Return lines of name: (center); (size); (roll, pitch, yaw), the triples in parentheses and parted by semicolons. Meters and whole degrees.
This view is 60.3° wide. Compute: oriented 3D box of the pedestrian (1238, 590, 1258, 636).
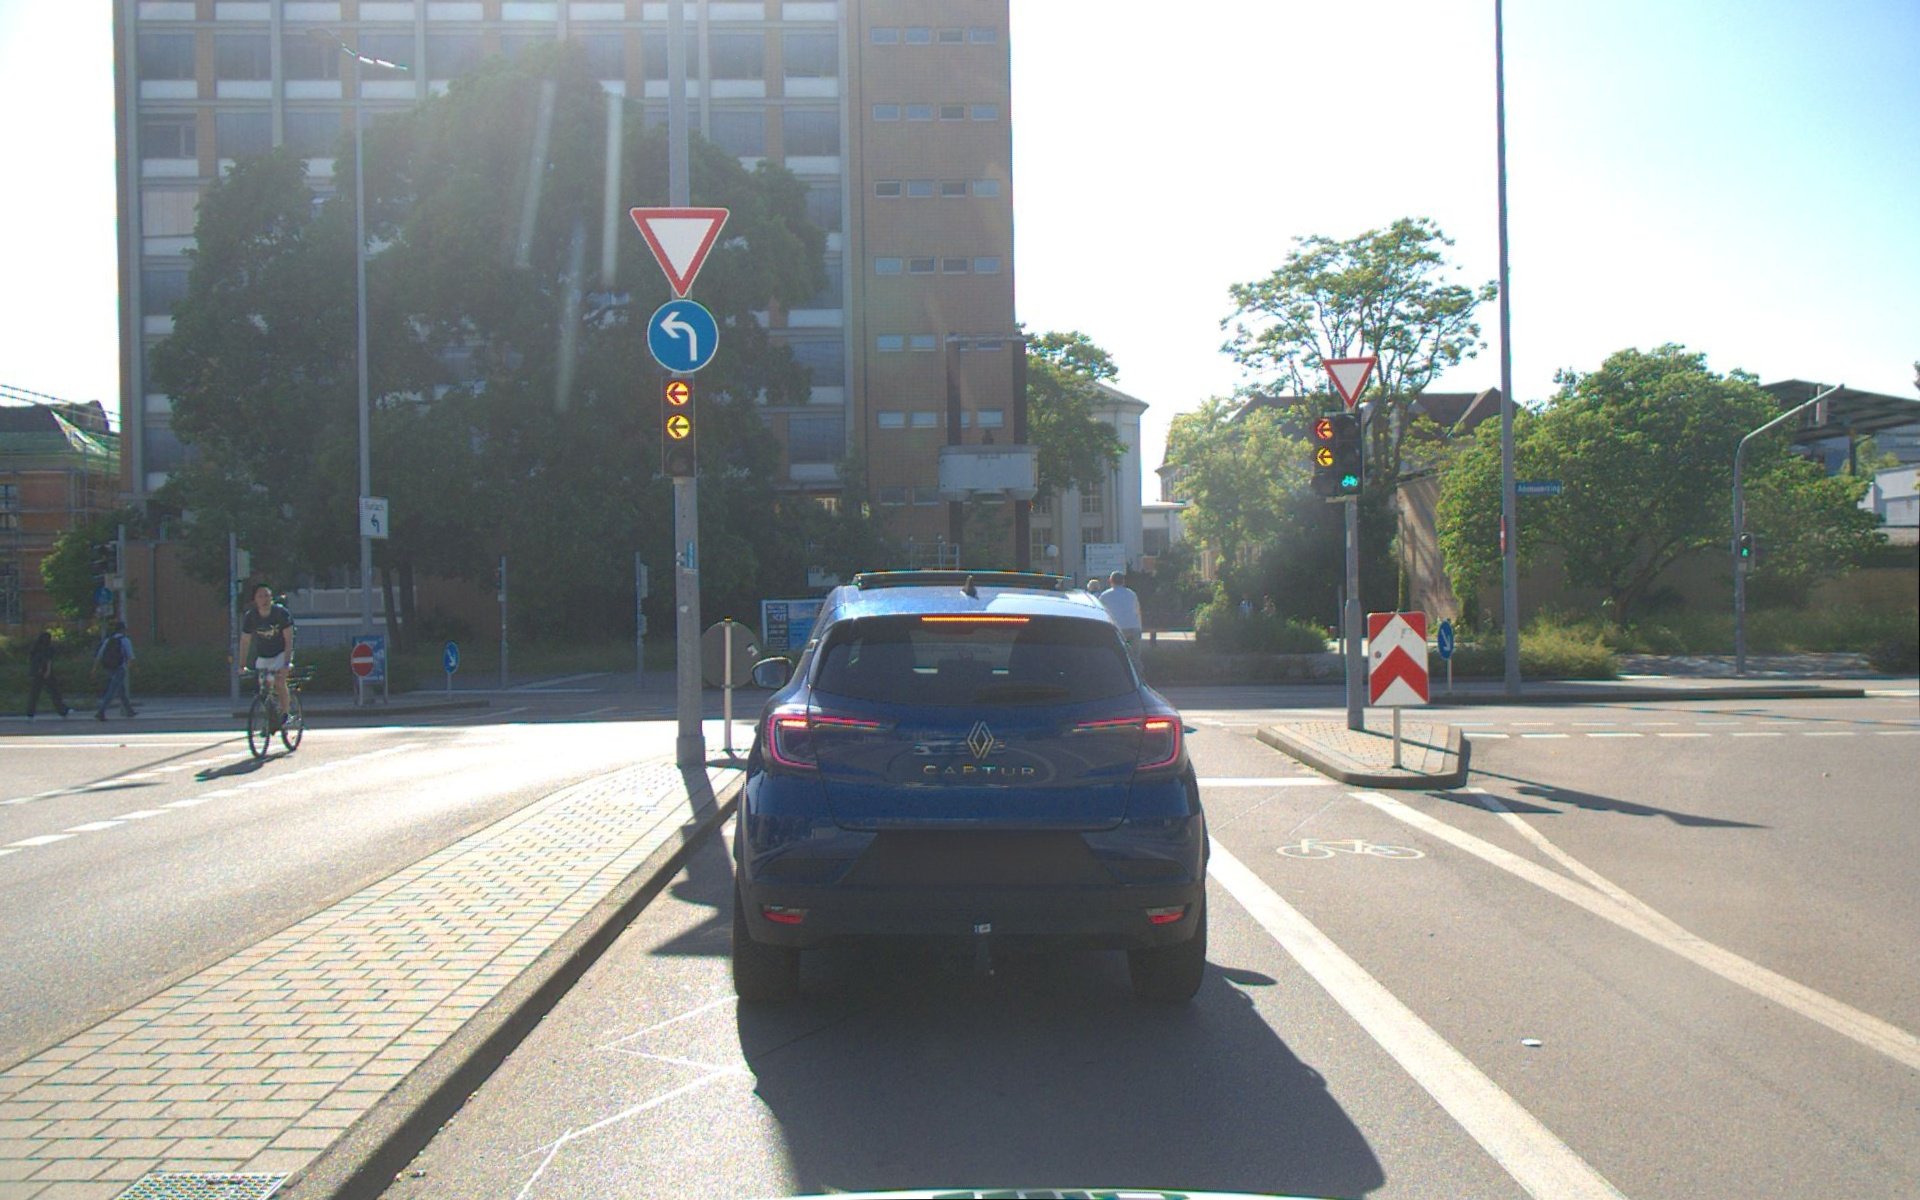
pedestrian: (10.580, 0.477, 60.711); (0.661, 1.672, 0.736); (1, -1, 15)

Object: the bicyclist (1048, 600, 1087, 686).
bicyclist: (2.264, 0.894, 34.926); (0.705, 1.765, 0.977); (-1, 0, -1)

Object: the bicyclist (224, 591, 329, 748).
bicyclist: (-7.521, 0.745, 18.243); (0.705, 1.649, 0.977); (-2, 0, -1)

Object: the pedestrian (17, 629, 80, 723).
pedestrian: (-16.382, 1.356, 29.724); (0.702, 1.640, 0.682); (-2, -1, 17)

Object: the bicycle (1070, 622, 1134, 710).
bicycle: (2.042, 0.935, 23.981); (0.731, 1.185, 1.870); (-1, 0, -1)

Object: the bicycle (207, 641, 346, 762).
bicycle: (-7.513, 1.086, 18.274); (0.731, 1.185, 1.870); (-2, 0, -1)

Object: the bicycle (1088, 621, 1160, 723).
bicycle: (2.053, 0.881, 20.895); (0.701, 1.185, 1.870); (-1, 0, 0)

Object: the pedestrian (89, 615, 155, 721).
pedestrian: (-15.159, 1.222, 29.945); (0.740, 1.865, 1.093); (-1, -2, -9)

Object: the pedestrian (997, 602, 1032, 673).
pedestrian: (1.444, 0.979, 43.677); (0.718, 1.848, 0.732); (1, -1, 16)

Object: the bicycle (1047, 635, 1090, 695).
bicycle: (2.270, 1.356, 34.844); (0.731, 1.185, 1.870); (-1, 0, -1)

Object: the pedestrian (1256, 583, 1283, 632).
pedestrian: (10.666, 0.243, 57.024); (0.664, 1.672, 0.733); (1, -1, 36)

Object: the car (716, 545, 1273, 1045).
car: (0.093, 0.659, 7.451); (1.838, 1.646, 3.797); (1, 0, -1)

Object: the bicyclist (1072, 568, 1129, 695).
bicyclist: (2.030, 0.452, 24.011); (0.705, 1.793, 0.977); (-1, 0, -1)

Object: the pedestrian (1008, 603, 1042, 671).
pedestrian: (1.759, 0.991, 44.613); (0.718, 1.813, 0.732); (1, -1, 16)

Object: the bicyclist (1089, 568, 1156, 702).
bicyclist: (2.047, 0.436, 20.931); (0.705, 1.645, 0.977); (-1, 0, -1)
